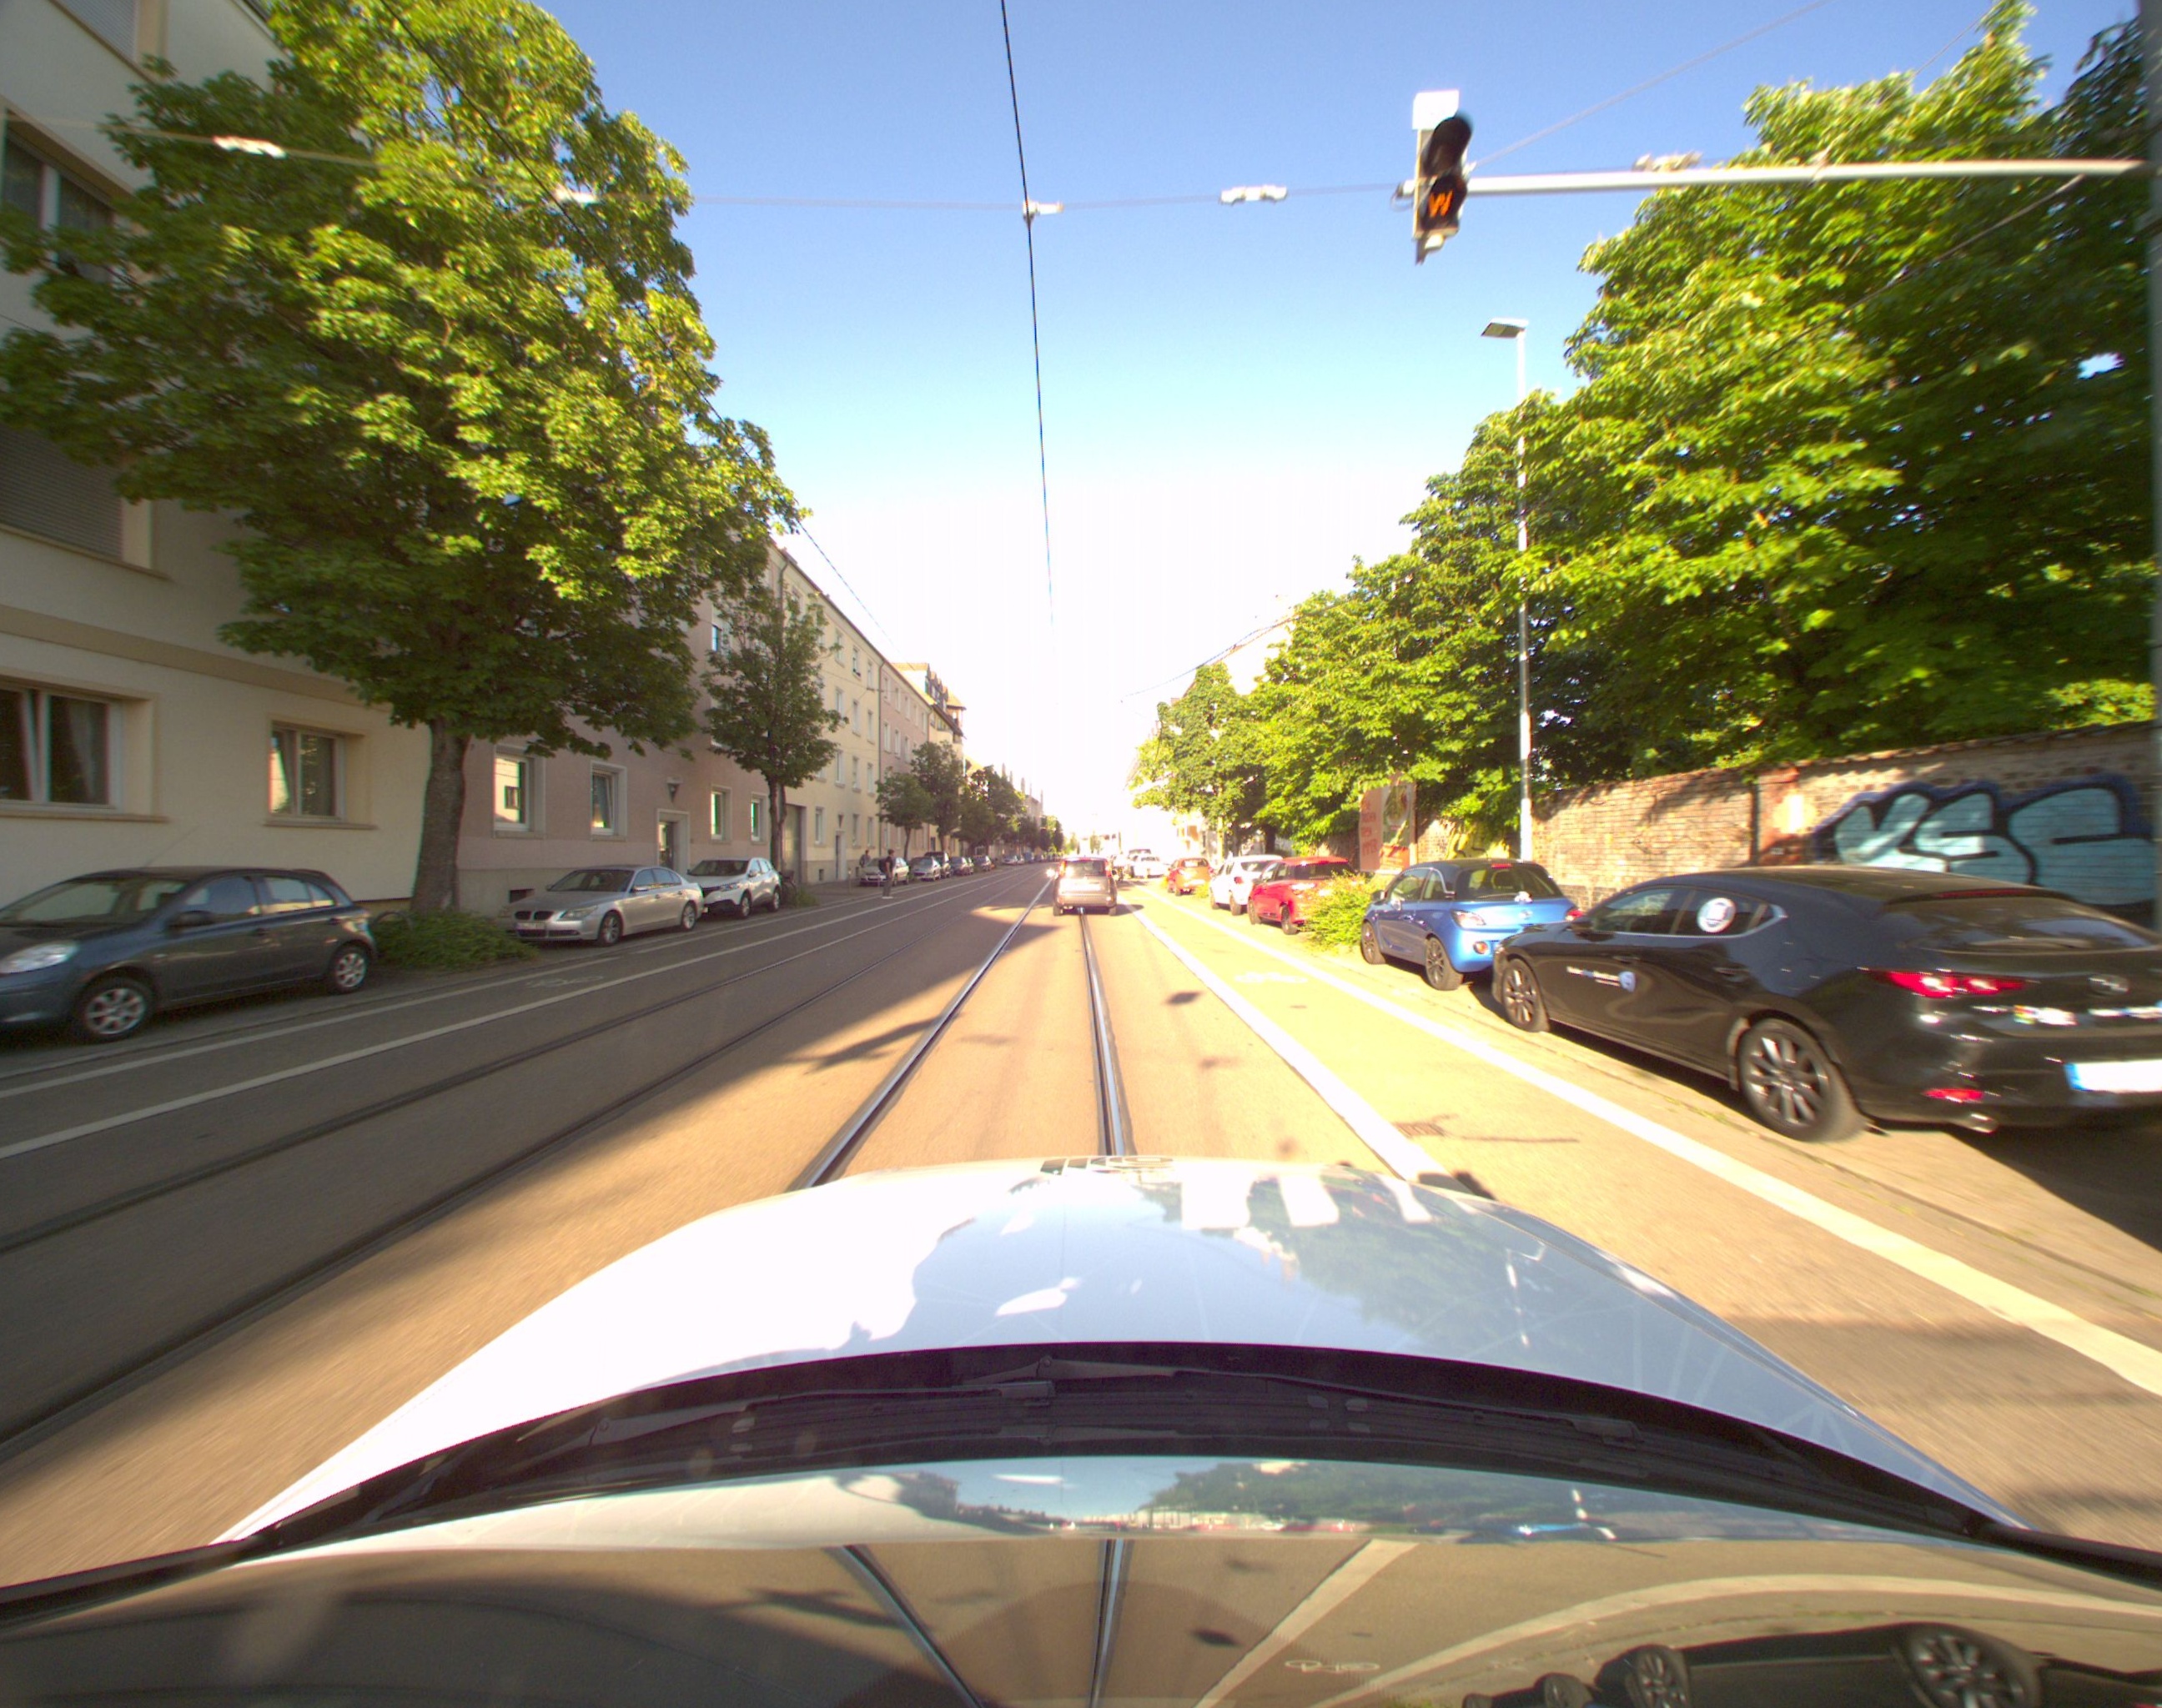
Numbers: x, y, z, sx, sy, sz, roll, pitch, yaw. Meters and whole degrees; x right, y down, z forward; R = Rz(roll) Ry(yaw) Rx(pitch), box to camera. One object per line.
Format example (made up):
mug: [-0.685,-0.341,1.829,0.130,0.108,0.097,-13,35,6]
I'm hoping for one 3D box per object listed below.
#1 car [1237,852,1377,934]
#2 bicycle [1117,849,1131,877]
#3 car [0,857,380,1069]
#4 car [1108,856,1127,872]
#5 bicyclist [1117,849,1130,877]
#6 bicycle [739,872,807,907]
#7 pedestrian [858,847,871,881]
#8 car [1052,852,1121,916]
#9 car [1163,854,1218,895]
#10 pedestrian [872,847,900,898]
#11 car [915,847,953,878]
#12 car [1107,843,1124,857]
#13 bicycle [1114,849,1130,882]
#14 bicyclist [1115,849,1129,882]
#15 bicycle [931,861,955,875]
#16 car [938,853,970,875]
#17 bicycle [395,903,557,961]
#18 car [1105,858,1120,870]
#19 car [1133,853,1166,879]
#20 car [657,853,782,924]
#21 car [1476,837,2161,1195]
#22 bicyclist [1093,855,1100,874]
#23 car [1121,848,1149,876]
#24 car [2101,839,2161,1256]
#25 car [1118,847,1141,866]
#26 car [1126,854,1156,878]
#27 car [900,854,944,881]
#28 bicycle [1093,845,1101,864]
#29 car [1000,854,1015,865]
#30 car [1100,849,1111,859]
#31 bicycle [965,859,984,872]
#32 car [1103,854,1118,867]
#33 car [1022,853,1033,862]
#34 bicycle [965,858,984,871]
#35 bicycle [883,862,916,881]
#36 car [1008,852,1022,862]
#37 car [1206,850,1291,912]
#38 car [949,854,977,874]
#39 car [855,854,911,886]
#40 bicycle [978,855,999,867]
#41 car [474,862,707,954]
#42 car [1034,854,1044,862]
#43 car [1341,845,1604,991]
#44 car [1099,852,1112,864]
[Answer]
car: [4.700,0.749,17.548,1.685,1.530,3.995,-2,0,-3]
bicycle: [2.679,0.548,51.008,0.673,1.747,2.156,1,0,-2]
car: [-9.307,0.855,8.123,1.588,1.614,3.724,1,0,-5]
car: [3.641,0.977,81.223,1.579,1.405,3.374,-4,0,-2]
bicyclist: [2.667,0.565,51.034,0.697,1.759,0.757,1,0,-2]
bicycle: [-9.584,1.095,25.368,1.918,1.046,0.476,1,0,0]
pedestrian: [-11.652,0.530,43.790,0.535,1.826,0.542,1,0,-1]
car: [0.138,0.727,21.805,1.645,1.541,4.234,1,0,0]
car: [4.328,0.776,32.653,1.630,1.508,3.396,-3,0,-1]
pedestrian: [-6.976,0.642,29.145,0.852,1.776,0.730,-1,1,-21]
car: [-9.909,0.557,55.149,1.803,1.943,4.332,1,0,-1]
car: [3.675,-0.438,86.953,1.578,1.405,3.374,1,0,-2]
bicycle: [2.195,0.603,43.854,0.673,1.747,2.156,1,0,-2]
bicyclist: [2.196,0.605,43.880,0.697,1.759,0.757,1,0,-2]
bicycle: [-9.978,1.013,58.943,1.629,0.937,0.516,1,0,-5]
car: [-9.679,0.748,62.457,1.803,1.619,4.062,1,0,-1]
bicycle: [-9.432,1.214,12.727,2.121,0.824,0.477,1,0,-2]
car: [3.693,1.148,95.796,1.578,1.405,3.374,1,0,-2]
car: [4.267,0.720,50.978,1.651,1.571,3.497,1,0,-1]
car: [-9.371,0.825,21.472,1.648,1.668,4.289,1,0,-5]
car: [4.608,0.705,5.721,1.682,1.530,4.358,-2,0,2]
bicyclist: [1.764,1.155,90.553,0.713,2.013,0.831,1,0,-2]
car: [4.009,0.585,60.955,1.651,1.944,4.662,1,0,-1]
car: [4.708,0.686,1.116,1.682,1.530,4.003,-2,0,2]
car: [3.901,0.202,66.079,1.651,1.500,3.128,1,0,-1]
car: [4.066,0.769,55.251,1.651,1.571,3.874,1,0,-1]
car: [-9.589,0.777,49.543,1.803,1.508,4.679,1,0,-1]
bicycle: [1.789,0.064,90.479,0.739,2.013,2.810,1,0,-2]
car: [-10.167,0.735,112.775,1.701,1.496,3.721,1,0,0]
car: [3.786,-0.007,127.159,1.578,1.599,3.374,1,0,-2]
bicycle: [-9.870,1.031,75.527,1.725,1.196,0.372,1,0,-5]
car: [3.641,0.753,100.354,1.578,1.599,3.374,1,0,-2]
car: [-9.246,0.630,141.319,1.701,1.496,3.721,1,0,0]
bicycle: [-9.814,0.990,75.133,1.725,1.196,0.372,1,0,-5]
bicycle: [-9.990,0.967,44.887,1.660,1.001,0.477,1,0,2]
car: [-10.293,0.490,127.196,1.701,1.496,3.721,1,0,0]
car: [4.600,0.694,22.831,1.682,1.530,4.003,-2,0,2]
car: [-9.770,0.791,67.609,1.803,1.619,4.062,1,0,-1]
car: [-9.831,0.769,40.751,1.803,1.508,4.189,1,0,-1]
bicycle: [-10.502,0.800,92.490,2.272,1.288,0.756,1,0,-6]
car: [-9.296,0.928,15.982,1.683,1.475,4.660,1,0,1]
car: [-8.117,0.828,157.105,1.701,1.496,3.721,1,0,0]
car: [4.857,0.692,10.785,1.682,1.530,4.003,-2,0,2]
car: [3.239,0.555,108.019,1.578,1.599,3.374,1,0,-2]
